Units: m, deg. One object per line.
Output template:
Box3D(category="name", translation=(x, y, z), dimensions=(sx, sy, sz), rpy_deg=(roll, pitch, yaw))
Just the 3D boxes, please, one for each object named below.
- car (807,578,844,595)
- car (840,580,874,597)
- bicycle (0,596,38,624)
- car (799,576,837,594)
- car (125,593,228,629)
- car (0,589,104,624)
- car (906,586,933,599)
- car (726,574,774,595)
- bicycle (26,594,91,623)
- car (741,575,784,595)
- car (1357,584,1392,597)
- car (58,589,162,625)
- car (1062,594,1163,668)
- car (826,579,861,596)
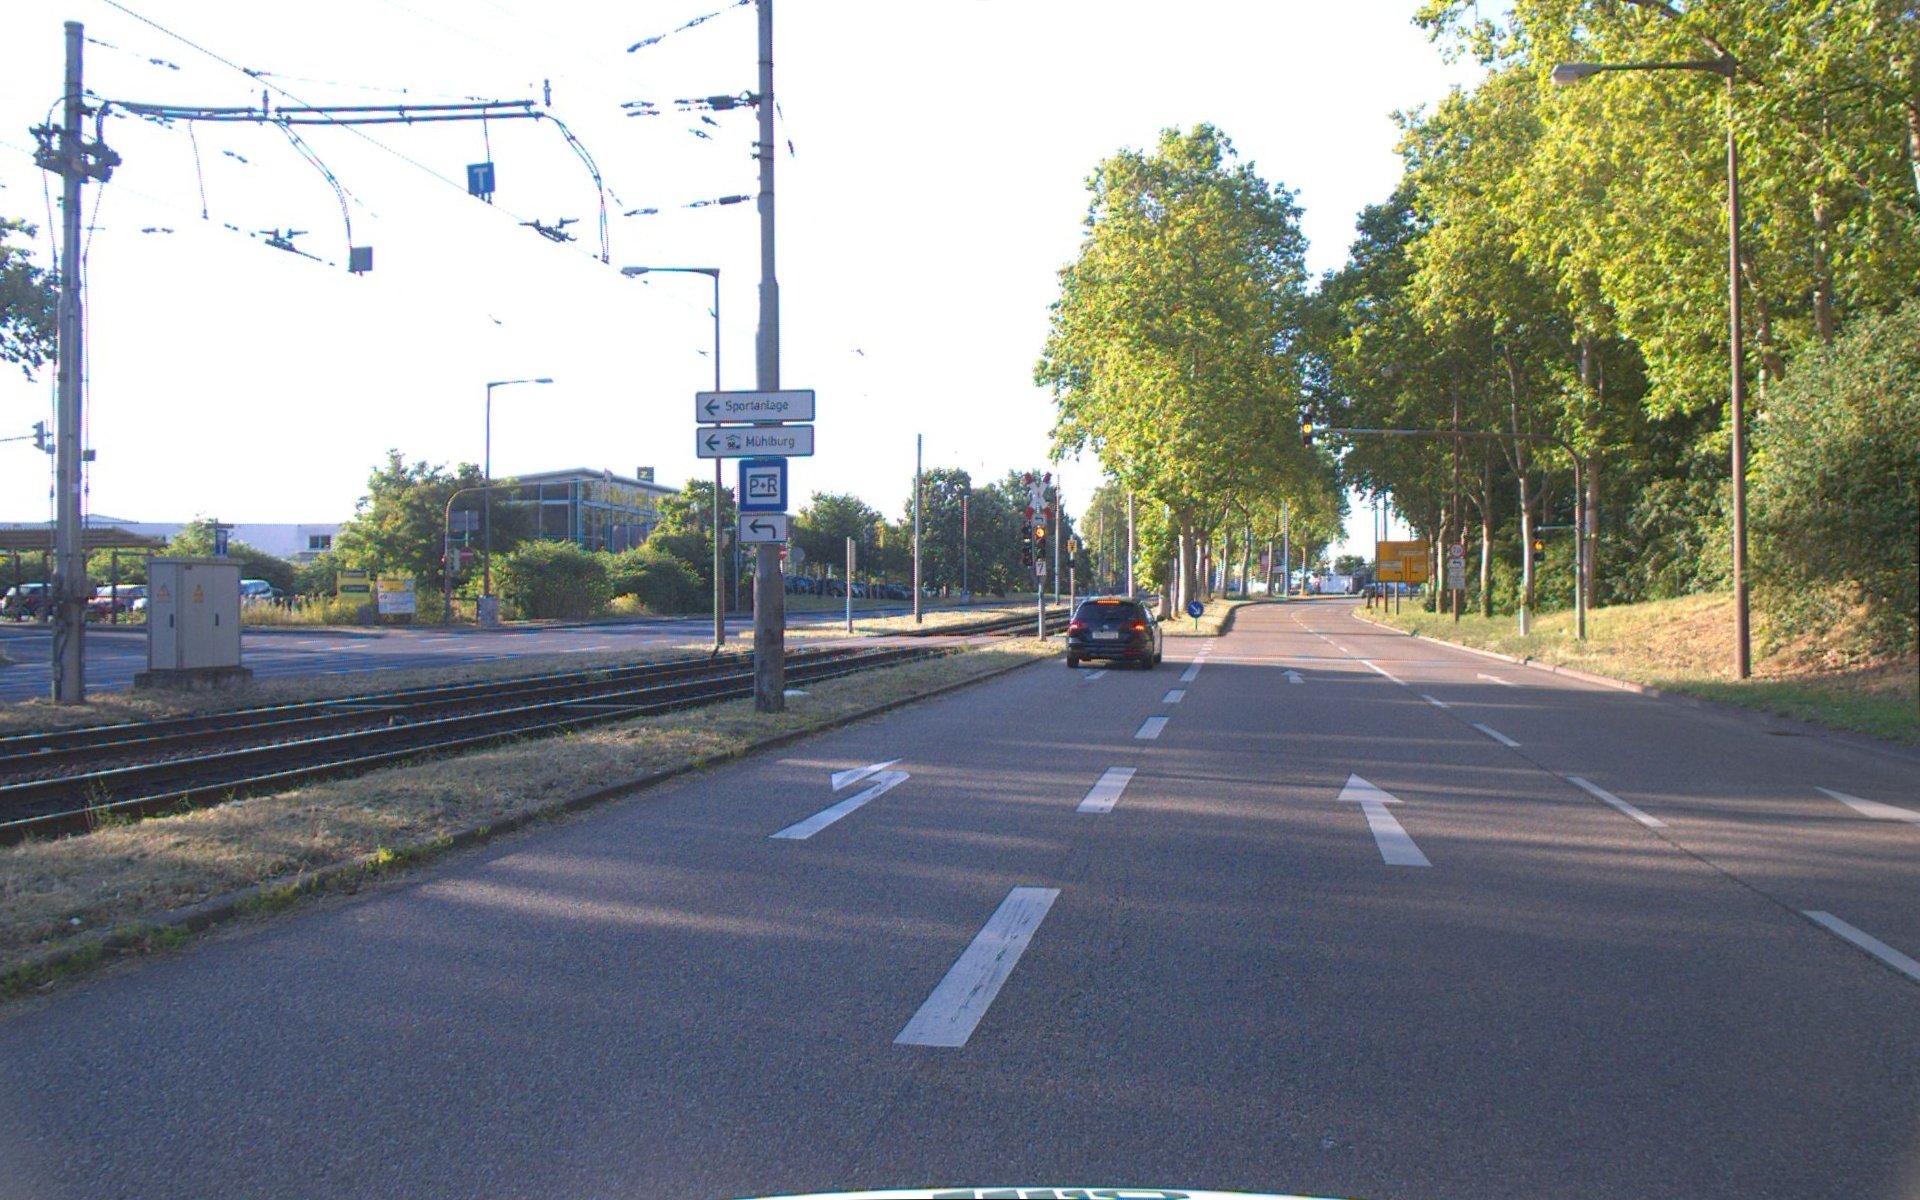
Box3D(category="car", translation=(-12.046, -1.209, 148.083), dimensions=(3.075, 1.516, 1.456), rpy_deg=(1, 0, 7))
Box3D(category="car", translation=(-9.790, -1.098, 157.426), dimensions=(3.075, 1.516, 1.456), rpy_deg=(1, 0, 7))
Box3D(category="bicycle", translation=(-37.189, 0.383, 64.417), dimensions=(0.656, 1.084, 2.180), rpy_deg=(0, 0, 40))
Box3D(category="car", translation=(-12.415, -1.325, 144.327), dimensions=(3.075, 1.516, 1.456), rpy_deg=(1, 0, 7))
Box3D(category="car", translation=(-32.855, 0.441, 69.452), dimensions=(1.802, 1.467, 4.003), rpy_deg=(1, 0, 13))
Box3D(category="car", translation=(-39.190, 0.271, 71.413), dimensions=(1.802, 1.467, 4.003), rpy_deg=(1, 0, 13))
Box3D(category="car", translation=(-4.864, -0.886, 199.615), dimensions=(3.075, 1.516, 1.456), rpy_deg=(1, 0, 7))
Box3D(category="car", translation=(-14.614, -1.096, 115.098), dimensions=(3.075, 1.416, 1.456), rpy_deg=(1, 0, 7))
Box3D(category="bicycle", translation=(-34.540, 0.312, 63.412), dimensions=(0.653, 1.084, 2.189), rpy_deg=(0, 0, 27))
Box3D(category="car", translation=(-15.481, -1.147, 129.824), dimensions=(3.075, 1.516, 1.456), rpy_deg=(1, 0, 7))
Box3D(category="car", translation=(44.452, -1.016, 177.298), dimensions=(3.653, 1.427, 1.773), rpy_deg=(0, 0, -39))
Box3D(category="car", translation=(-36.108, 0.301, 70.374), dimensions=(1.802, 1.467, 4.003), rpy_deg=(1, 0, 13))
Box3D(category="car", translation=(3.242, 0.608, 34.652), dimensions=(1.754, 1.427, 3.692), rpy_deg=(0, 0, 11))
Box3D(category="car", translation=(-10.860, -1.155, 154.192), dimensions=(3.075, 1.516, 1.456), rpy_deg=(1, 0, 7))
